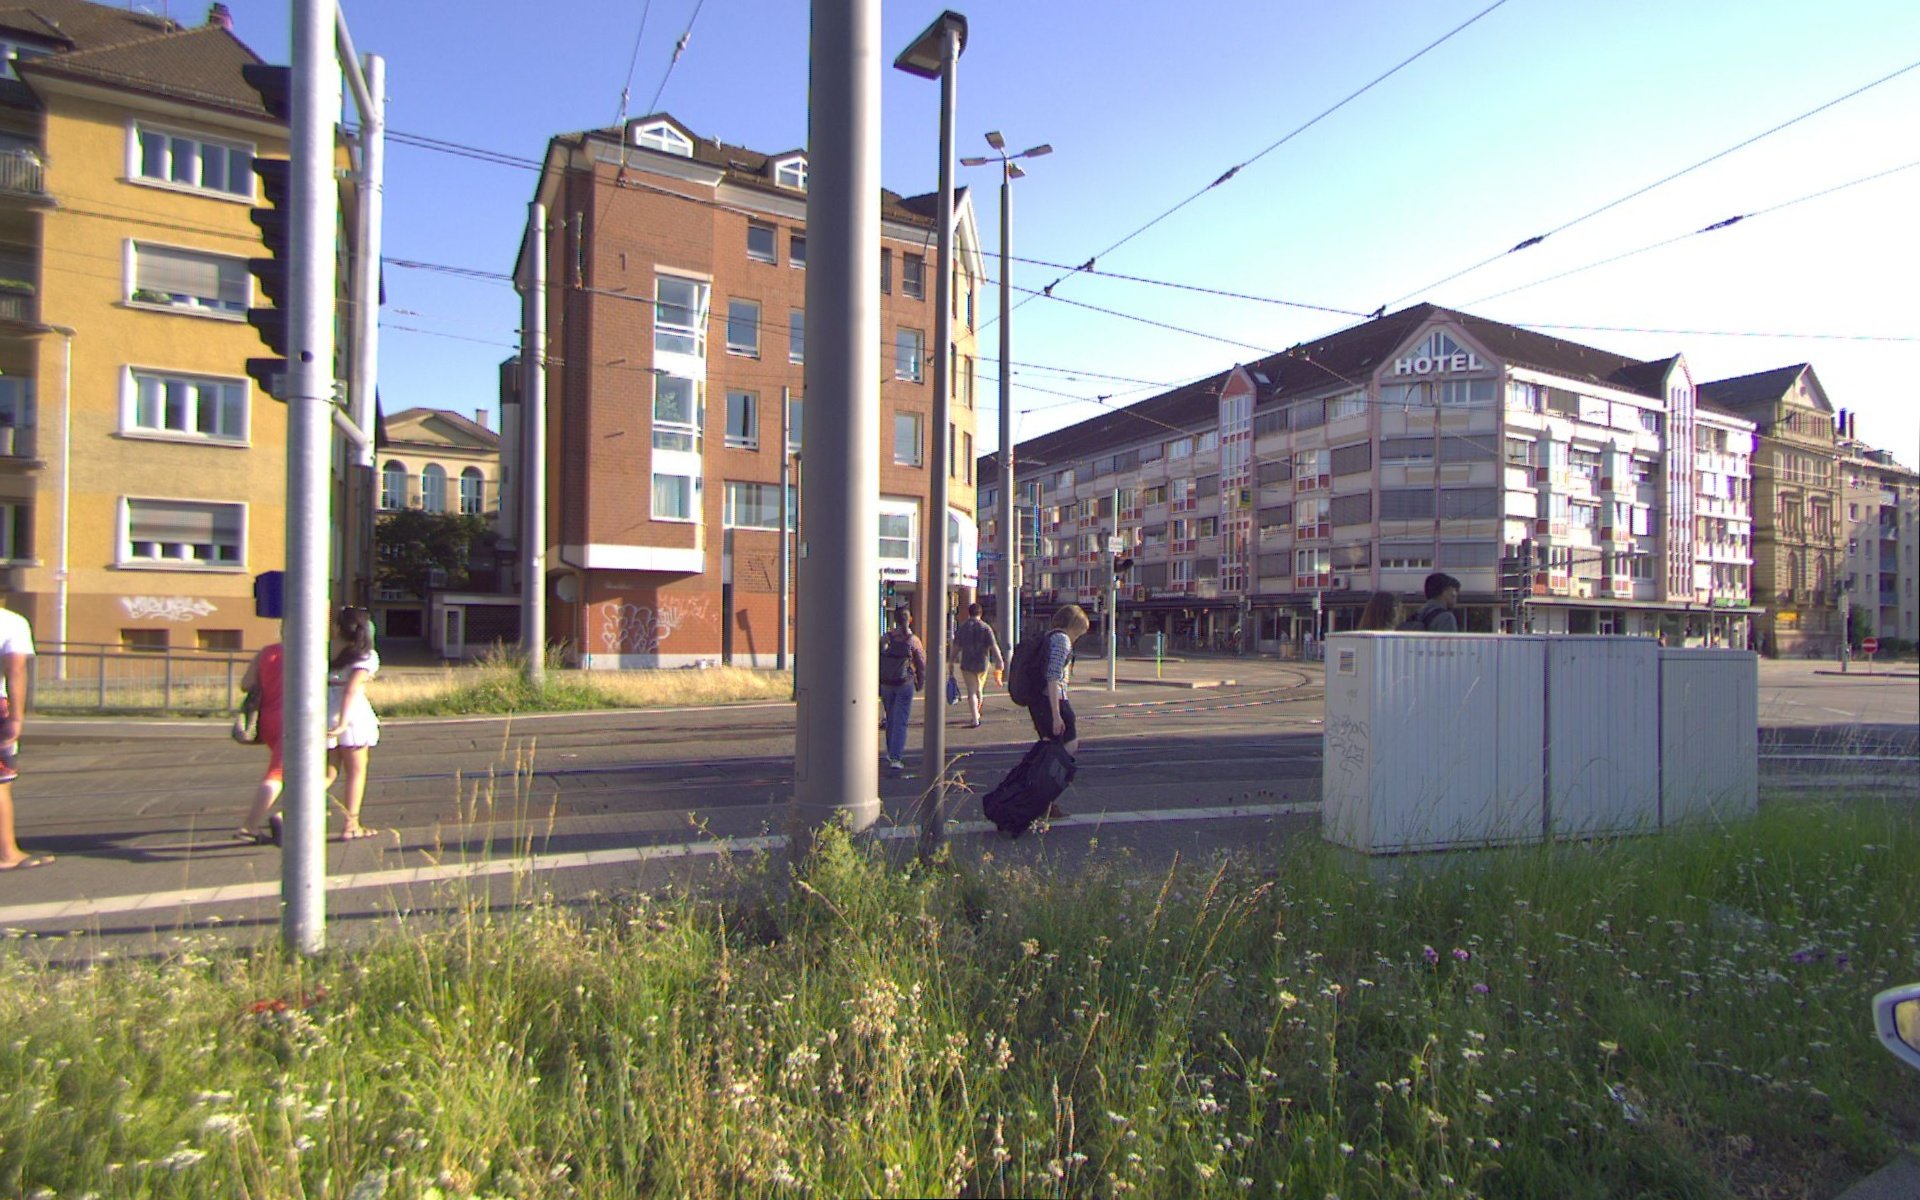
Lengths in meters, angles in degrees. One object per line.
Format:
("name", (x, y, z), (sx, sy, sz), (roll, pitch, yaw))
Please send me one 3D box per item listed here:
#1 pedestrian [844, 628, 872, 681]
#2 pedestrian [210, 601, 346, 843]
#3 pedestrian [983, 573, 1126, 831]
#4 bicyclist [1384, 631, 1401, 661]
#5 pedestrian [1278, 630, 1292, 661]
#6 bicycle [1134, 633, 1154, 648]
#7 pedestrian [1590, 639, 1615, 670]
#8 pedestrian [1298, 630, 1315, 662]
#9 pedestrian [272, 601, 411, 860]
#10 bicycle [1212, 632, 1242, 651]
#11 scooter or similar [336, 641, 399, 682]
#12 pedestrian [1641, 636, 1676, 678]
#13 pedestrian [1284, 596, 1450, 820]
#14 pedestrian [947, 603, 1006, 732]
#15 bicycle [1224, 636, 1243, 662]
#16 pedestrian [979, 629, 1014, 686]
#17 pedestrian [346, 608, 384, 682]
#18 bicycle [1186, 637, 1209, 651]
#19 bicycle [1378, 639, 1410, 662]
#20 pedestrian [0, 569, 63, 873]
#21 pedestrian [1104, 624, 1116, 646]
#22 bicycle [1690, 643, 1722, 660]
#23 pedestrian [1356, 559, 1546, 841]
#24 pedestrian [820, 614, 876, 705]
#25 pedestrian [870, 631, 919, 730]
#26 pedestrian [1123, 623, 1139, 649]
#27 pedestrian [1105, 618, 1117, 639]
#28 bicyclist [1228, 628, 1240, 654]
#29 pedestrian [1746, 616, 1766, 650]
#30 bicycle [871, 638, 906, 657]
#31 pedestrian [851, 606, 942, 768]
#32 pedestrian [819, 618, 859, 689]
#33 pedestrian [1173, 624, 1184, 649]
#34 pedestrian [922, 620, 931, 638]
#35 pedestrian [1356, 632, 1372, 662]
("pedestrian", (-3.223, 1.719, 31.742), (0.826, 1.605, 0.683), (2, 0, -7))
("pedestrian", (-4.398, 0.743, 6.481), (0.628, 1.451, 0.523), (2, 0, 37))
("pedestrian", (0.644, 0.663, 6.976), (0.612, 1.662, 0.781), (2, 0, -32))
("bicyclist", (24.030, 2.573, 55.829), (0.649, 1.618, 0.636), (-1, 1, -26))
("pedestrian", (18.742, 2.604, 57.894), (0.612, 1.717, 0.866), (2, 0, 29))
("bicycle", (14.629, 3.228, 79.837), (1.630, 1.134, 0.480), (2, 0, -30))
("pedestrian", (30.912, 2.607, 48.337), (0.847, 1.472, 0.700), (2, 0, -34))
("pedestrian", (19.722, 2.631, 57.184), (0.503, 1.788, 1.001), (2, 0, 40))
("pedestrian", (-3.804, 0.756, 6.173), (0.628, 1.475, 0.522), (2, 0, 39))
("bicycle", (18.455, 2.865, 69.581), (0.720, 1.243, 2.319), (2, -2, -24))
("scooter or similar", (-15.136, 1.575, 25.697), (1.311, 1.019, 0.484), (2, 0, -23))
("pedestrian", (34.046, 2.772, 48.949), (0.847, 1.909, 1.187), (-4, 3, -34))
("pedestrian", (3.203, 0.813, 7.948), (0.885, 1.662, 0.785), (2, 0, -17))
("pedestrian", (0.224, 0.951, 14.545), (0.761, 1.781, 0.900), (2, 0, -2))
("bicycle", (15.780, 2.800, 57.898), (0.574, 1.385, 2.092), (0, 1, 28))
("pedestrian", (1.159, 1.831, 32.098), (0.824, 1.781, 0.687), (2, 0, -44))
("pedestrian", (-15.198, 1.142, 25.660), (0.713, 1.872, 0.559), (2, 0, -23))
("bicycle", (17.087, 3.161, 72.266), (0.494, 0.929, 2.066), (2, -2, -24))
("bicycle", (24.165, 2.801, 55.906), (1.746, 1.160, 0.636), (-1, 1, -27))
("pedestrian", (-5.333, 0.615, 5.402), (0.613, 1.569, 0.780), (3, -1, -35))
("pedestrian", (12.518, 2.932, 83.902), (0.804, 1.802, 0.680), (2, 0, 0))
("bicycle", (48.487, 3.342, 65.266), (2.056, 1.085, 0.451), (2, 0, -13))
("pedestrian", (3.483, 0.649, 7.154), (0.887, 1.825, 0.784), (-4, 3, -21))
("pedestrian", (-2.034, 1.066, 18.299), (0.600, 1.609, 0.783), (2, 0, 45))
("pedestrian", (-0.941, 1.149, 14.307), (0.586, 1.377, 0.607), (1, -4, -15))
("pedestrian", (11.318, 2.397, 66.416), (0.773, 1.682, 0.677), (2, 0, -35))
("pedestrian", (12.203, 2.319, 81.303), (0.741, 1.667, 0.547), (0, 1, -20))
("bicyclist", (15.816, 2.353, 57.953), (0.556, 1.501, 0.737), (0, 1, 29))
("pedestrian", (57.874, 2.380, 73.018), (0.953, 2.430, 0.918), (2, 0, -40))
("bicycle", (-3.916, 2.601, 55.016), (1.813, 0.974, 0.540), (1, 1, -27))
("pedestrian", (-0.651, 0.857, 10.215), (0.612, 1.556, 0.782), (2, 0, -29))
("pedestrian", (-2.825, 1.244, 23.499), (0.825, 1.605, 0.683), (2, 0, -3))
("pedestrian", (16.621, 2.796, 76.413), (0.601, 1.877, 0.601), (2, 0, -20))
("pedestrian", (-3.967, 3.387, 118.438), (0.829, 2.040, 0.774), (2, 0, -20))
("pedestrian", (22.964, 2.681, 57.095), (0.705, 1.684, 0.631), (-1, -2, 37))
